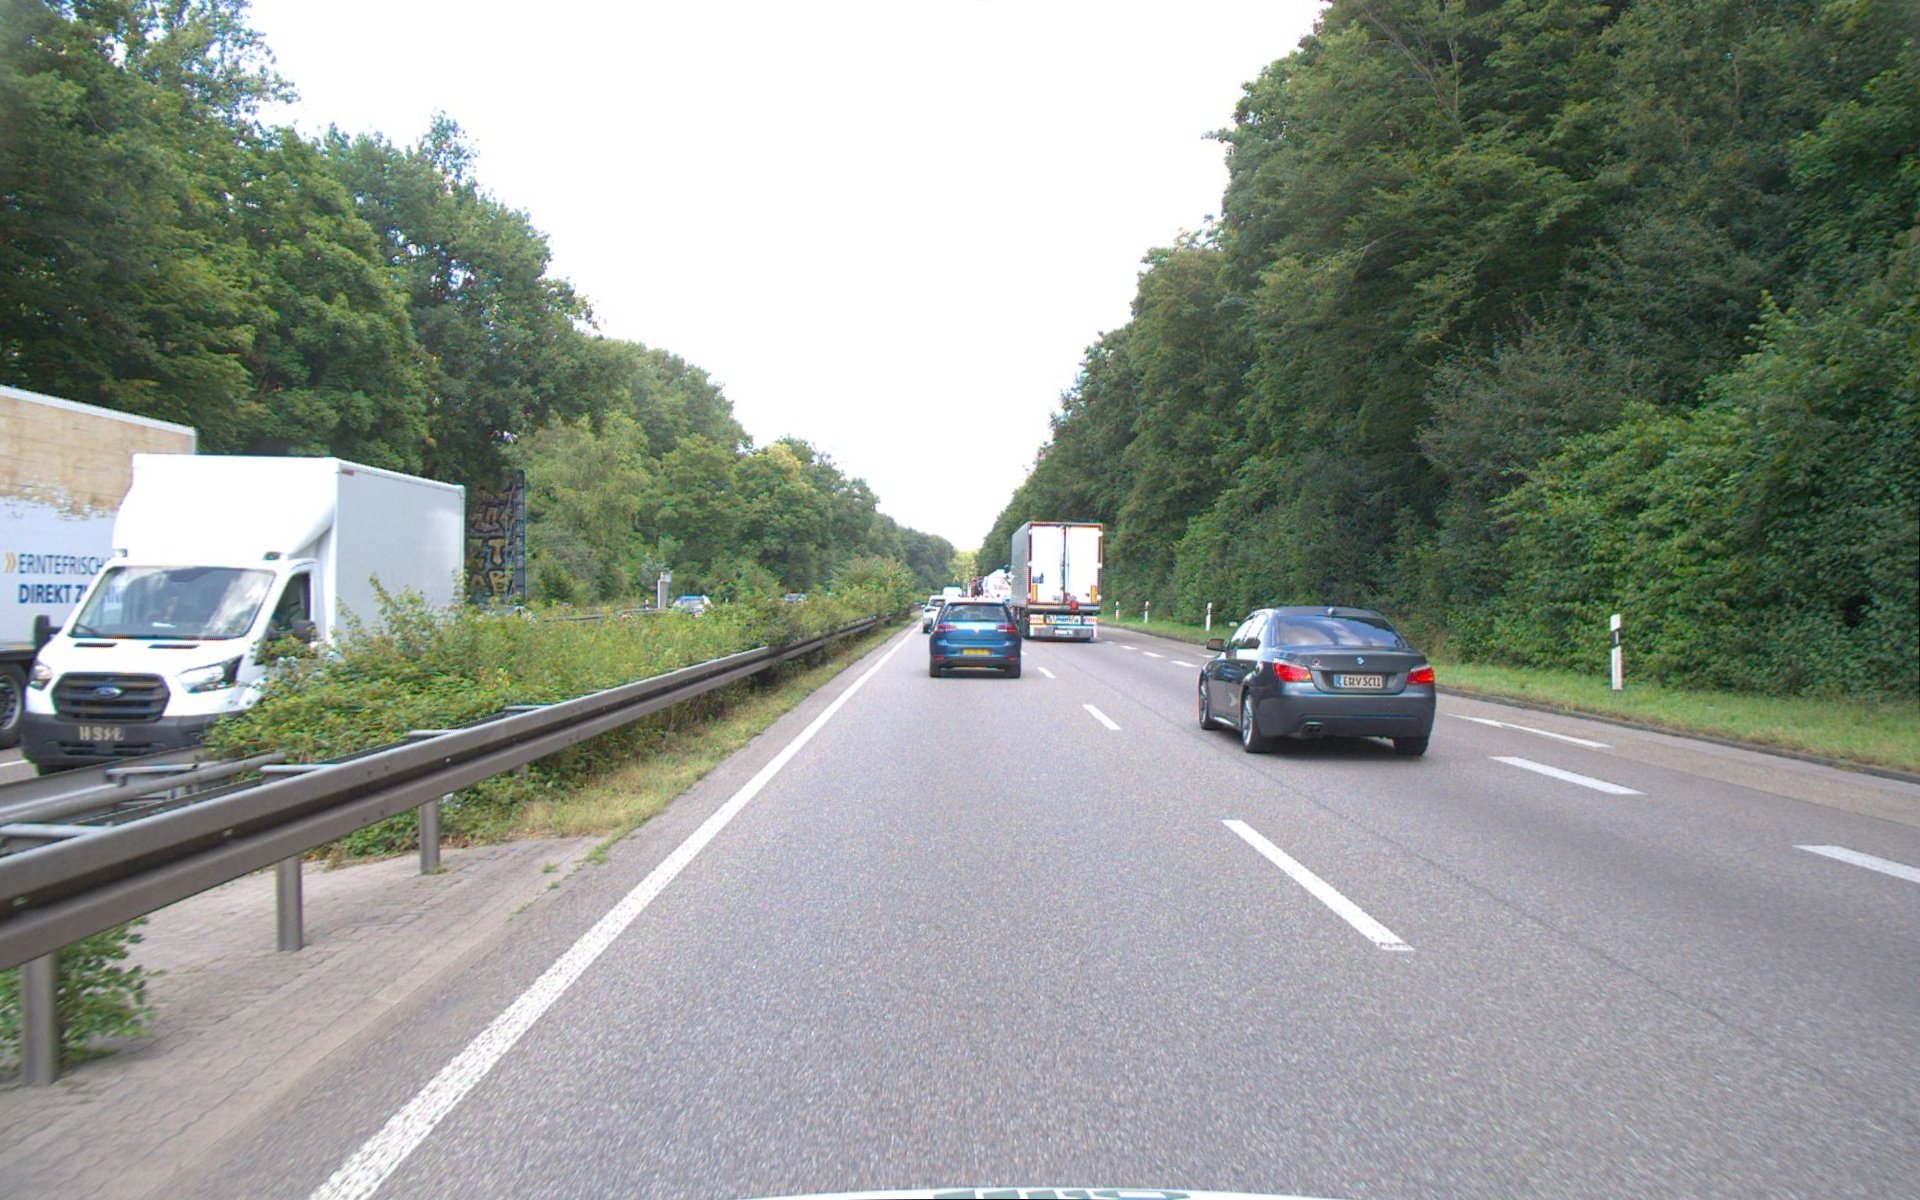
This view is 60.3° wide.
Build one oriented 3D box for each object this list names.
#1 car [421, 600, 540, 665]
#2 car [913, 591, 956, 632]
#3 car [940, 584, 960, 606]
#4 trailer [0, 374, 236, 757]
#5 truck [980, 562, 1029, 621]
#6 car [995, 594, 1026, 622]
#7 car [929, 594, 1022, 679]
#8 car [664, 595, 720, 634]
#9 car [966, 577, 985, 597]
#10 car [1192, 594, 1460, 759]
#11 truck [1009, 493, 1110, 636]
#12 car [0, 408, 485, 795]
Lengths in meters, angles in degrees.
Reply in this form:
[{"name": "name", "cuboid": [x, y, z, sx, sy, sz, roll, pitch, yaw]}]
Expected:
[{"name": "car", "cuboid": [-11.933, 0.780, 41.471, 1.699, 1.499, 4.469, -1, 0, 0]}, {"name": "car", "cuboid": [-0.988, 0.437, 65.893, 1.631, 1.526, 4.152, 1, 0, 0]}, {"name": "car", "cuboid": [-1.085, -0.521, 175.922, 1.954, 2.294, 4.440, -1, 0, -3]}, {"name": "trailer", "cuboid": [-11.783, -0.379, 18.315, 2.997, 4.113, 9.974, 1, 0, 1]}, {"name": "truck", "cuboid": [3.433, -0.579, 131.762, 3.167, 4.463, 12.965, 1, 0, -2]}, {"name": "car", "cuboid": [3.184, 0.482, 105.118, 1.850, 1.759, 4.000, -1, 0, 0]}, {"name": "car", "cuboid": [0.254, 0.656, 31.930, 1.670, 1.495, 3.999, 1, 0, -1]}, {"name": "car", "cuboid": [-12.128, 0.645, 75.096, 1.790, 1.690, 4.594, 1, 0, 0]}, {"name": "car", "cuboid": [1.839, -1.511, 194.283, 1.954, 2.368, 4.440, 0, 0, -3]}, {"name": "car", "cuboid": [3.746, 0.708, 17.824, 1.738, 1.501, 4.879, 1, 0, -1]}, {"name": "truck", "cuboid": [3.525, -1.222, 61.171, 3.175, 4.798, 11.008, 0, 0, 1]}, {"name": "car", "cuboid": [-7.291, -0.008, 17.809, 2.241, 3.289, 7.286, -1, 0, 0]}]
